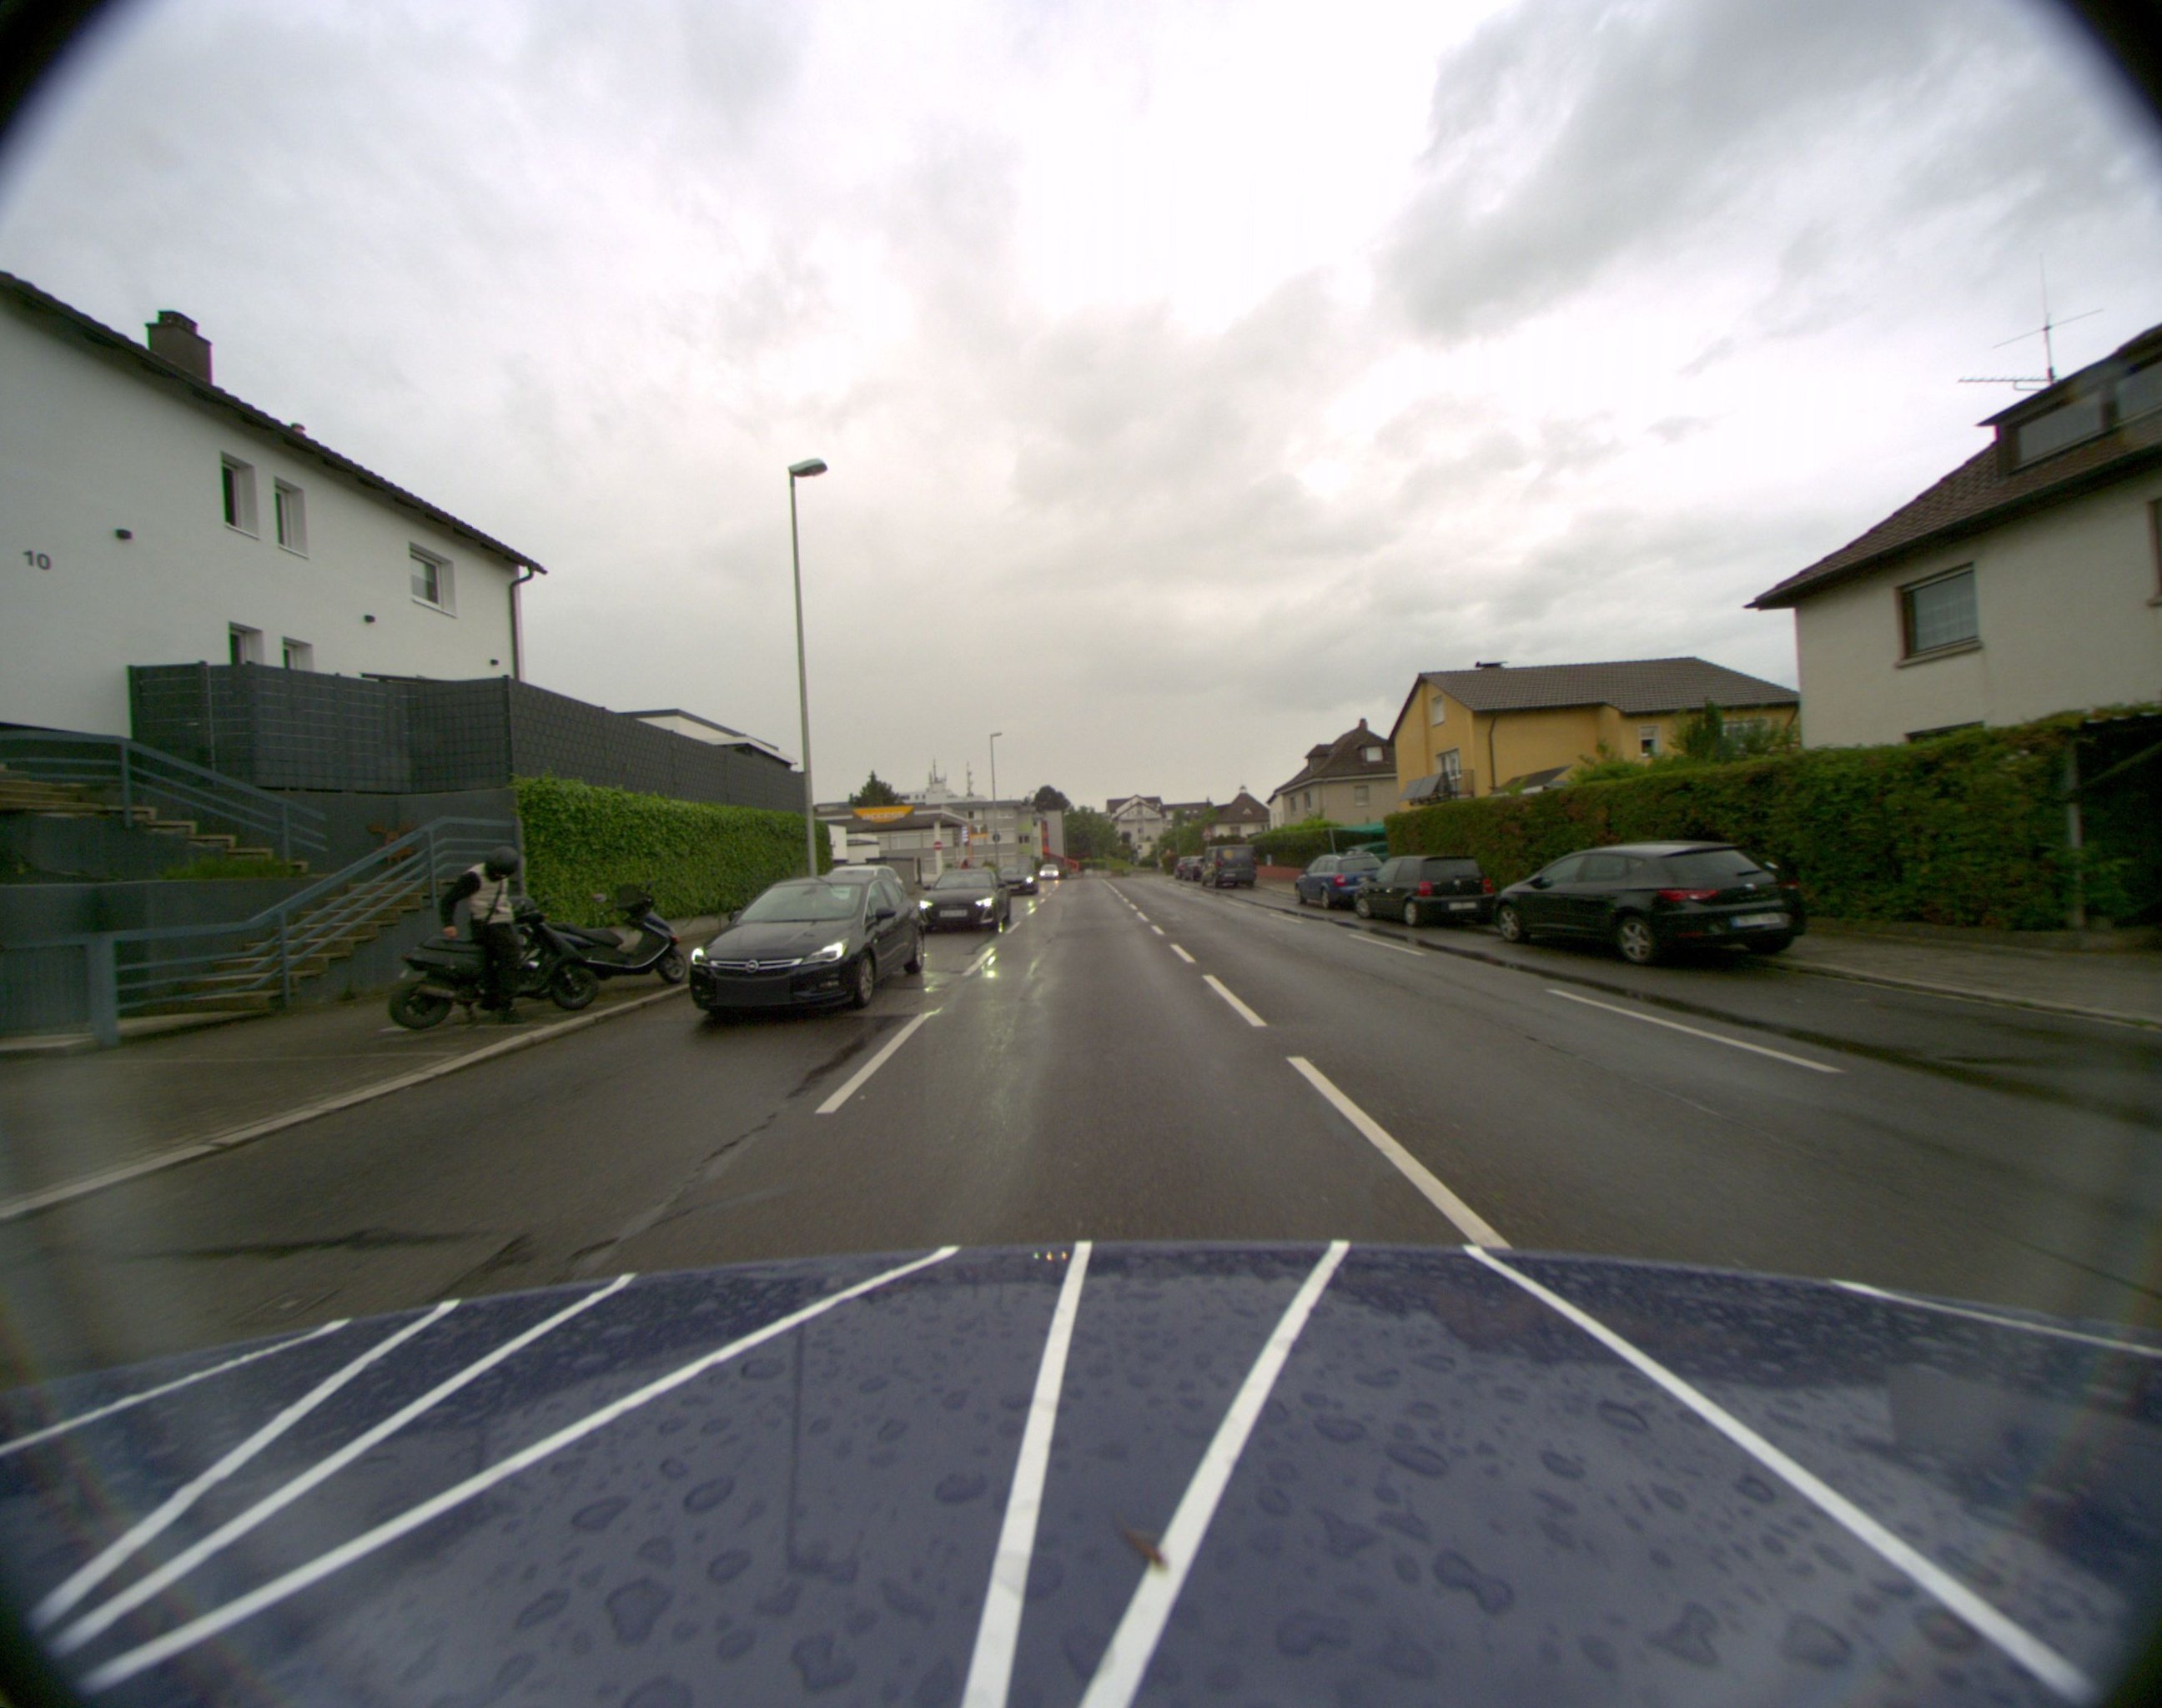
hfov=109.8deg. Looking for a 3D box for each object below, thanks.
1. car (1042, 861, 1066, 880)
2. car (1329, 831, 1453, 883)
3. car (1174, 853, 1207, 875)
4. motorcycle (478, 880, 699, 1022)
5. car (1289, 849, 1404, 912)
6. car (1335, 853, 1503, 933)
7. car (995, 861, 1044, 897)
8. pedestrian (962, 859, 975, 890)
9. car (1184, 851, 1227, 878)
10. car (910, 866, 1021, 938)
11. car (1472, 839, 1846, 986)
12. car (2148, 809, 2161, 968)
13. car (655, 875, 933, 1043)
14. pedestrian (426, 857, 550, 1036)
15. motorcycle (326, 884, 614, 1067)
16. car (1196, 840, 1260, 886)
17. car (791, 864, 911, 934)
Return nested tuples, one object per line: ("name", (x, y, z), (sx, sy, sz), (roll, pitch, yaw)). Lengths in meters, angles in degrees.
("car", (-2.605, 1.554, 73.127), (1.998, 1.647, 4.000), (-3, 0, 1))
("car", (12.145, 0.103, 29.955), (3.969, 1.604, 1.918), (-6, 0, 1))
("car", (7.670, 0.671, 53.623), (1.754, 1.431, 4.129), (-3, 0, 1))
("motorcycle", (-5.887, 1.083, 9.172), (2.093, 1.442, 0.820), (-1, -1, -43))
("car", (7.373, 0.673, 21.575), (1.761, 1.524, 4.286), (-3, 0, 1))
("car", (7.023, 0.731, 16.266), (1.555, 1.423, 4.013), (-3, 0, -3))
("car", (-2.882, 1.160, 36.504), (1.872, 1.510, 4.000), (-3, 0, 1))
("pedestrian", (-6.216, 1.118, 42.044), (0.586, 1.646, 0.611), (-3, 1, -10))
("car", (7.658, 0.599, 47.209), (1.755, 1.508, 4.527), (-3, 0, -1))
("car", (-2.761, 1.112, 19.288), (1.871, 1.416, 4.739), (-3, 0, 2))
("car", (7.441, 0.633, 10.438), (1.762, 1.524, 4.208), (-3, 0, -2))
("car", (12.301, 0.364, 6.497), (3.998, 1.507, 1.855), (1, 0, -4))
("car", (-3.199, 1.082, 9.428), (1.760, 1.441, 4.000), (-3, 0, 2))
("pedestrian", (-5.924, 0.876, 7.596), (0.834, 1.640, 0.620), (-4, 1, -44))
("motorcycle", (-5.971, 1.092, 7.545), (2.093, 1.442, 0.757), (-3, 1, -44))
("car", (7.090, 0.402, 37.178), (1.918, 1.991, 5.086), (-3, 0, -1))
("car", (-5.955, 1.099, 20.247), (1.704, 1.501, 4.534), (-3, 0, 0))
